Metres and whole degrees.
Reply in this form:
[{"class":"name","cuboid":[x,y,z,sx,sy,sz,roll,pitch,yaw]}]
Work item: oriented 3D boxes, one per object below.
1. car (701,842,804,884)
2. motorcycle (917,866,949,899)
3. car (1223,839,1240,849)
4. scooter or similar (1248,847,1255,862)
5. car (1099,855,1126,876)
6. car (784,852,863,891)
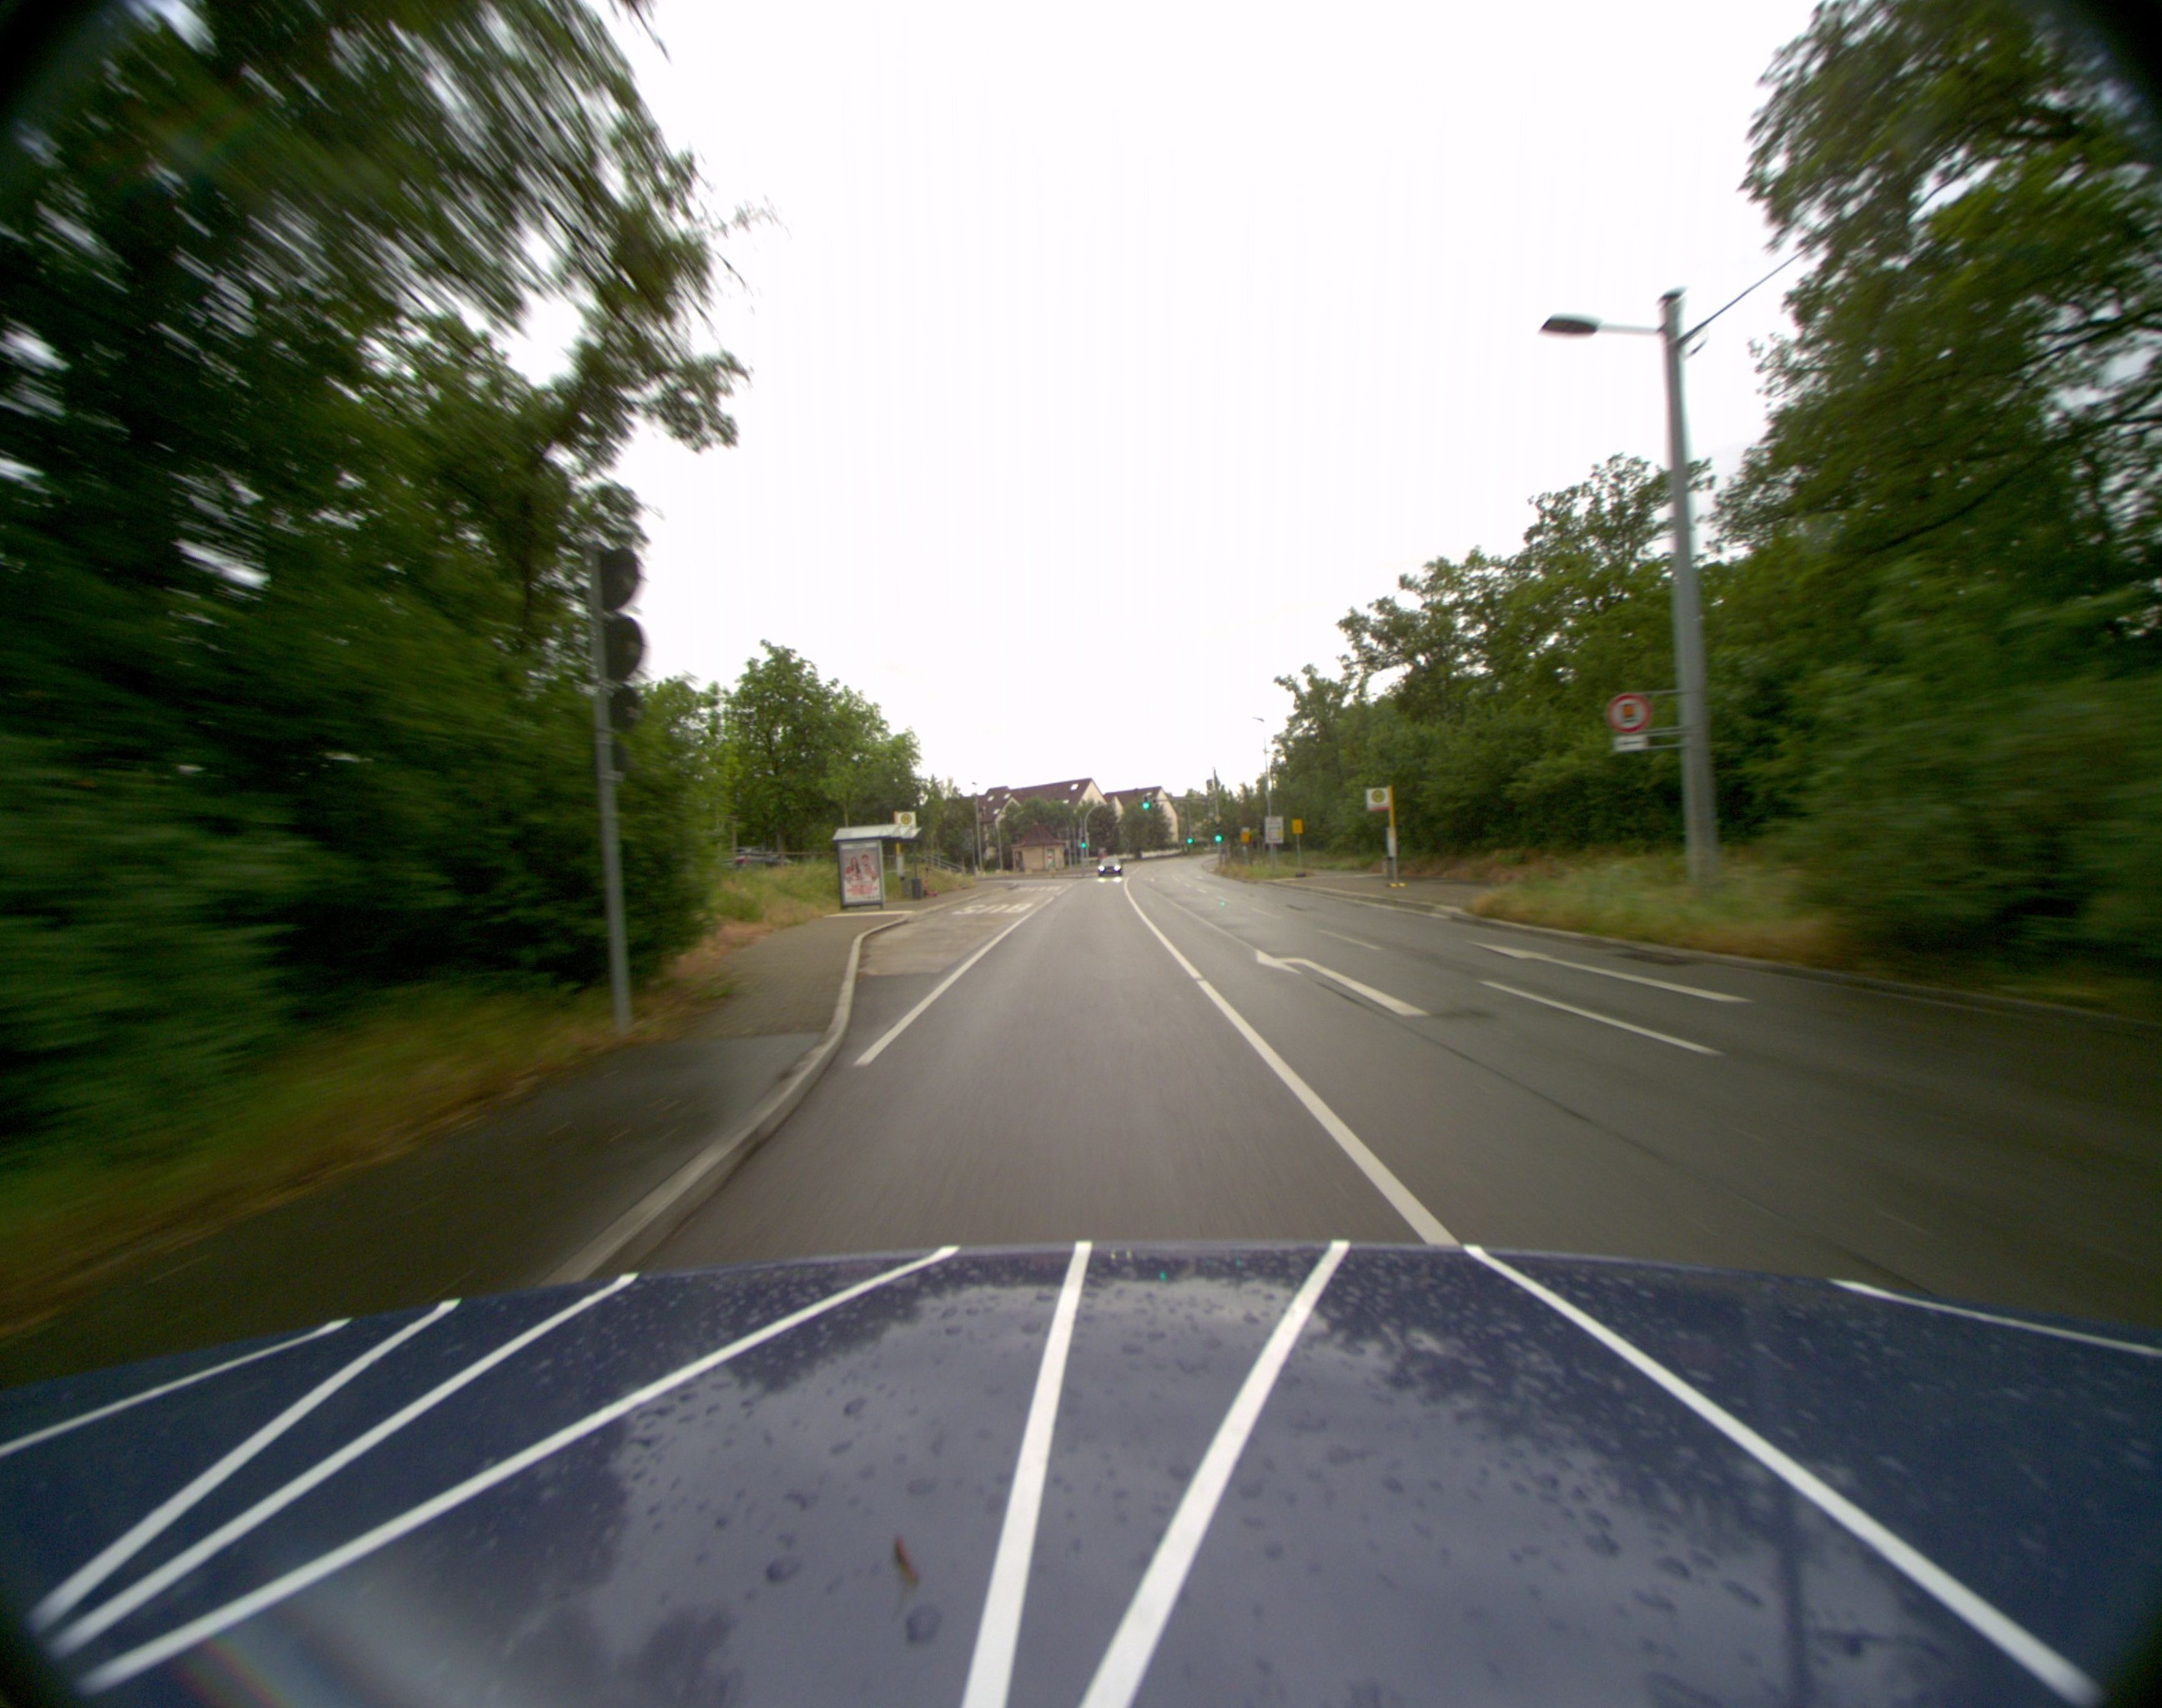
[{"class":"car","cuboid":[-14.094,0.334,32.902,1.997,1.471,4.286,-5,1,9]},{"class":"motorcycle","cuboid":[-6.250,1.185,32.075,0.589,1.281,1.539,-3,0,18]},{"class":"car","cuboid":[24.345,-1.635,122.689,1.791,1.572,4.568,-2,0,22]},{"class":"scooter or similar","cuboid":[14.604,0.010,65.122,0.518,1.205,1.470,-4,1,11]},{"class":"car","cuboid":[2.408,0.854,59.130,1.945,1.446,4.603,-3,1,1]},{"class":"car","cuboid":[-12.714,0.828,37.778,1.997,1.652,4.002,-6,0,8]}]
